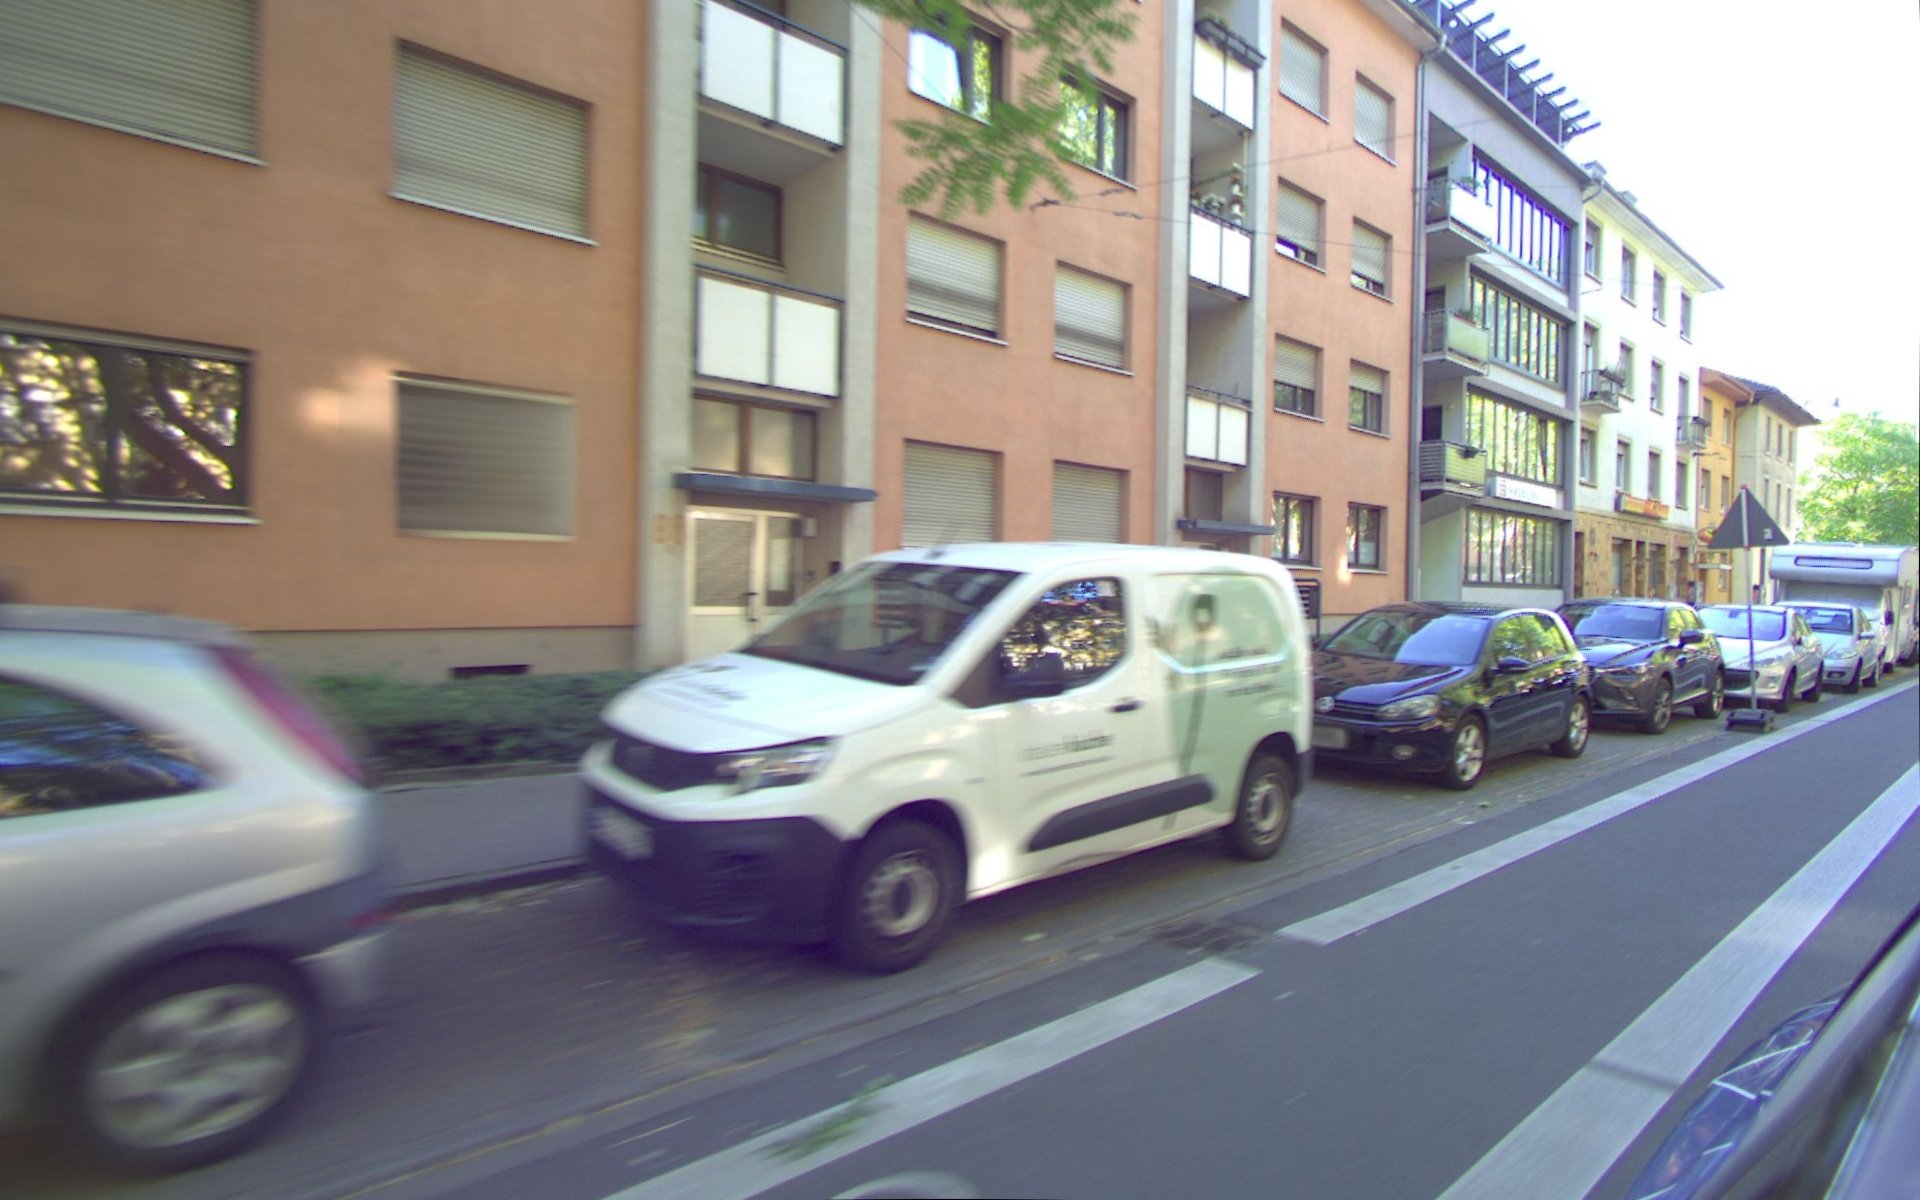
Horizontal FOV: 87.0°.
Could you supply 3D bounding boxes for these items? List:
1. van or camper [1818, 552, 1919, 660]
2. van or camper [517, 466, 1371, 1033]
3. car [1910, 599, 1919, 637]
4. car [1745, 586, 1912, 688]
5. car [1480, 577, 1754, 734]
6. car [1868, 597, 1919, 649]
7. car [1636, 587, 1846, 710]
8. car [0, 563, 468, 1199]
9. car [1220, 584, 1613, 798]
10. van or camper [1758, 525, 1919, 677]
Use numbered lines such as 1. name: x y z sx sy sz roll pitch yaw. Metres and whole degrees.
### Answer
1. van or camper: 25.640 0.129 27.961 4.893 2.695 2.137 0 3 -41
2. van or camper: 0.305 0.473 5.619 4.747 1.887 1.758 0 2 -42
3. car: 38.068 0.725 38.730 4.657 1.397 1.998 0 3 -41
4. car: 16.610 0.624 19.292 4.202 1.648 1.796 0 3 -41
5. car: 8.408 0.577 12.802 4.261 1.591 1.771 0 3 -41
6. car: 30.716 0.716 32.267 4.656 1.512 1.998 0 3 -41
7. car: 12.077 0.638 15.548 4.248 1.540 1.791 0 3 -42
8. car: -3.492 0.642 2.336 3.930 1.491 1.709 0 2 -41
9. car: 4.310 0.648 9.256 4.095 1.491 1.709 0 2 -41
10. van or camper: 20.964 -0.039 23.709 6.161 3.101 2.466 0 3 -42
